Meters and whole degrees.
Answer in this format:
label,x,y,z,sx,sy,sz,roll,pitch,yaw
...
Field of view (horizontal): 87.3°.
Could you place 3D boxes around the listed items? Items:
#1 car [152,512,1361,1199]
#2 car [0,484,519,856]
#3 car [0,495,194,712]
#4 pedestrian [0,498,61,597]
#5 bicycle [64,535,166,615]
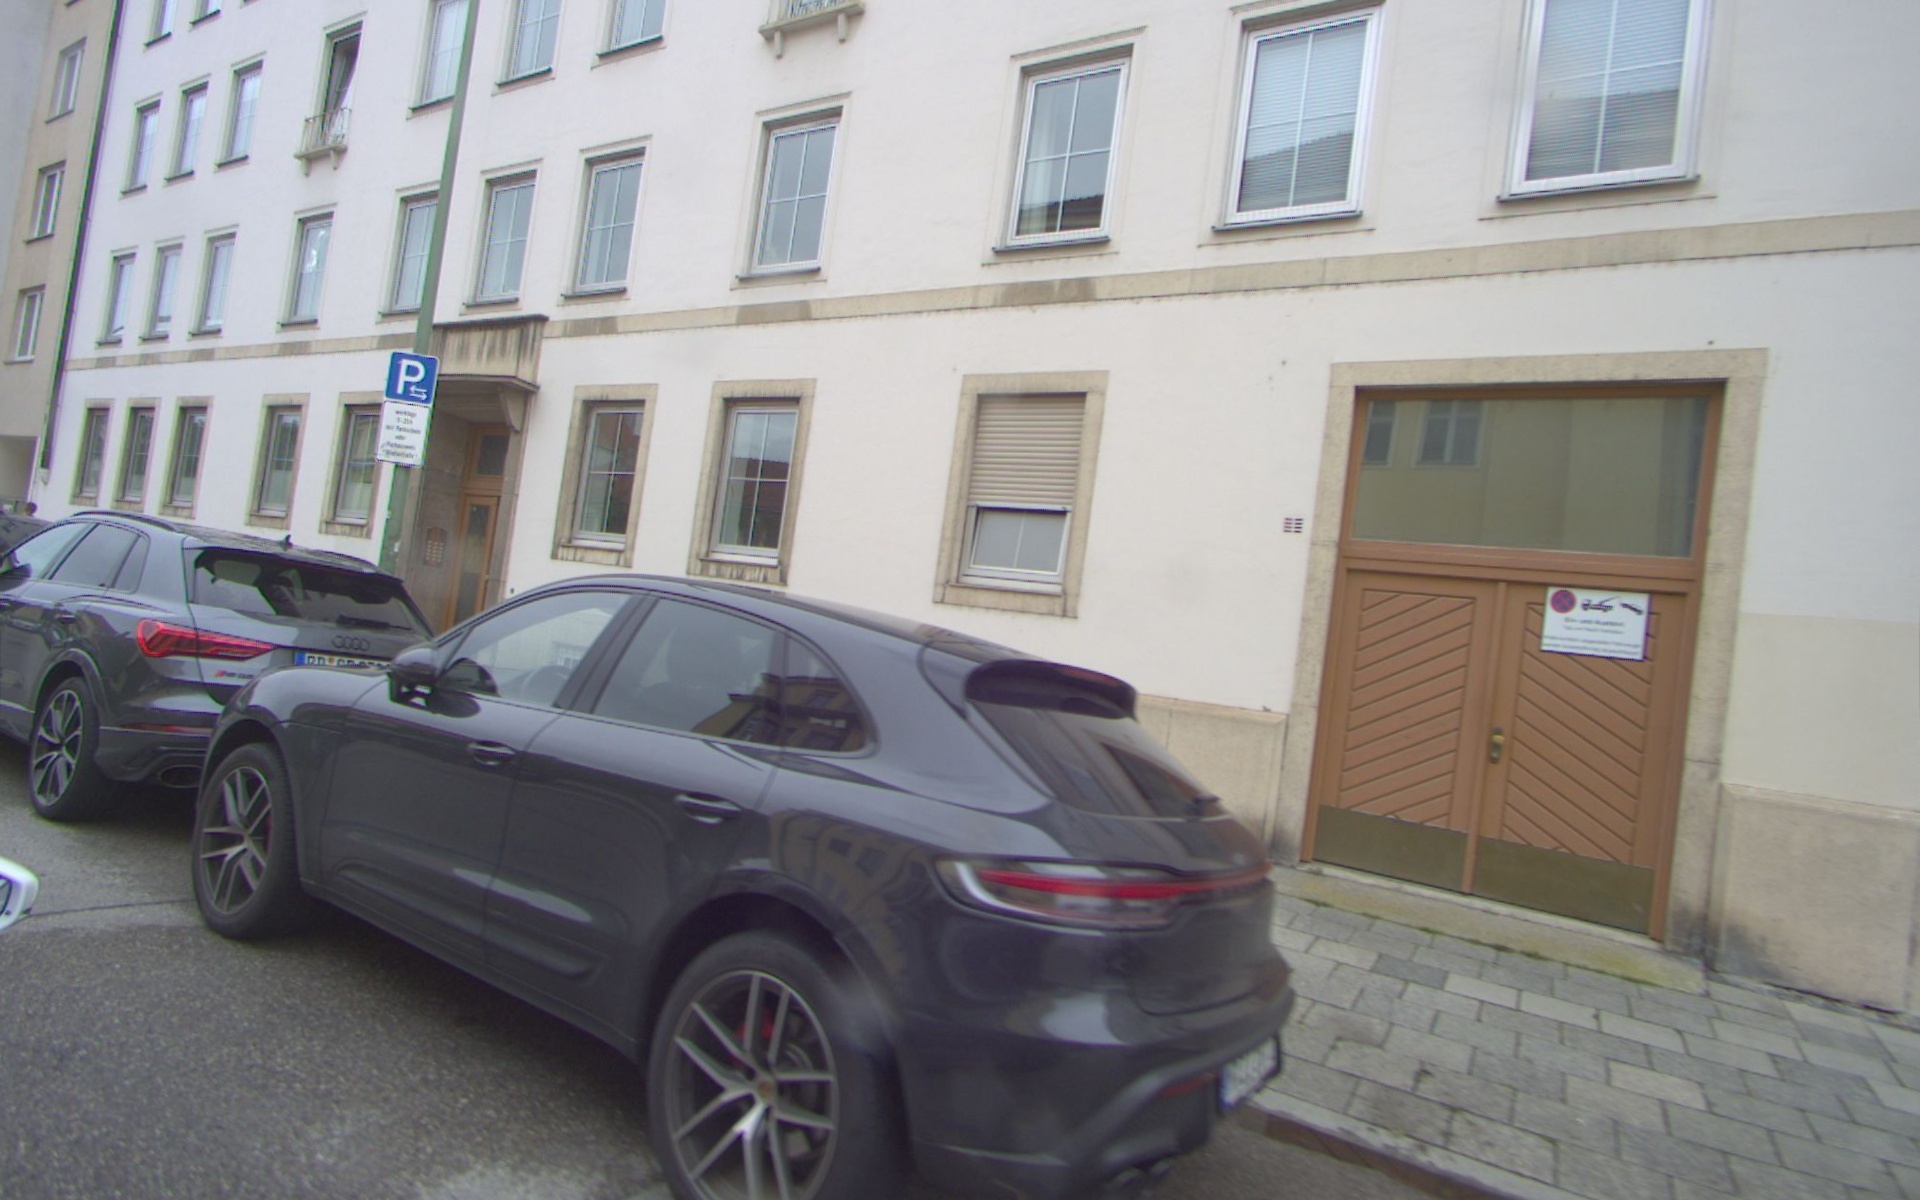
label,x,y,z,sx,sy,sz,roll,pitch,yaw
car,-0.993,0.755,3.792,4.259,1.601,1.784,7,-4,33
car,-4.999,0.281,6.388,4.201,1.600,1.784,7,-5,32
car,-9.140,-0.195,8.972,4.735,1.560,1.863,7,-5,31
pedestrian,-16.061,-0.908,17.365,0.551,1.603,0.532,7,-1,31
bicycle,-14.858,-0.446,17.676,1.994,1.176,0.660,6,-1,31
